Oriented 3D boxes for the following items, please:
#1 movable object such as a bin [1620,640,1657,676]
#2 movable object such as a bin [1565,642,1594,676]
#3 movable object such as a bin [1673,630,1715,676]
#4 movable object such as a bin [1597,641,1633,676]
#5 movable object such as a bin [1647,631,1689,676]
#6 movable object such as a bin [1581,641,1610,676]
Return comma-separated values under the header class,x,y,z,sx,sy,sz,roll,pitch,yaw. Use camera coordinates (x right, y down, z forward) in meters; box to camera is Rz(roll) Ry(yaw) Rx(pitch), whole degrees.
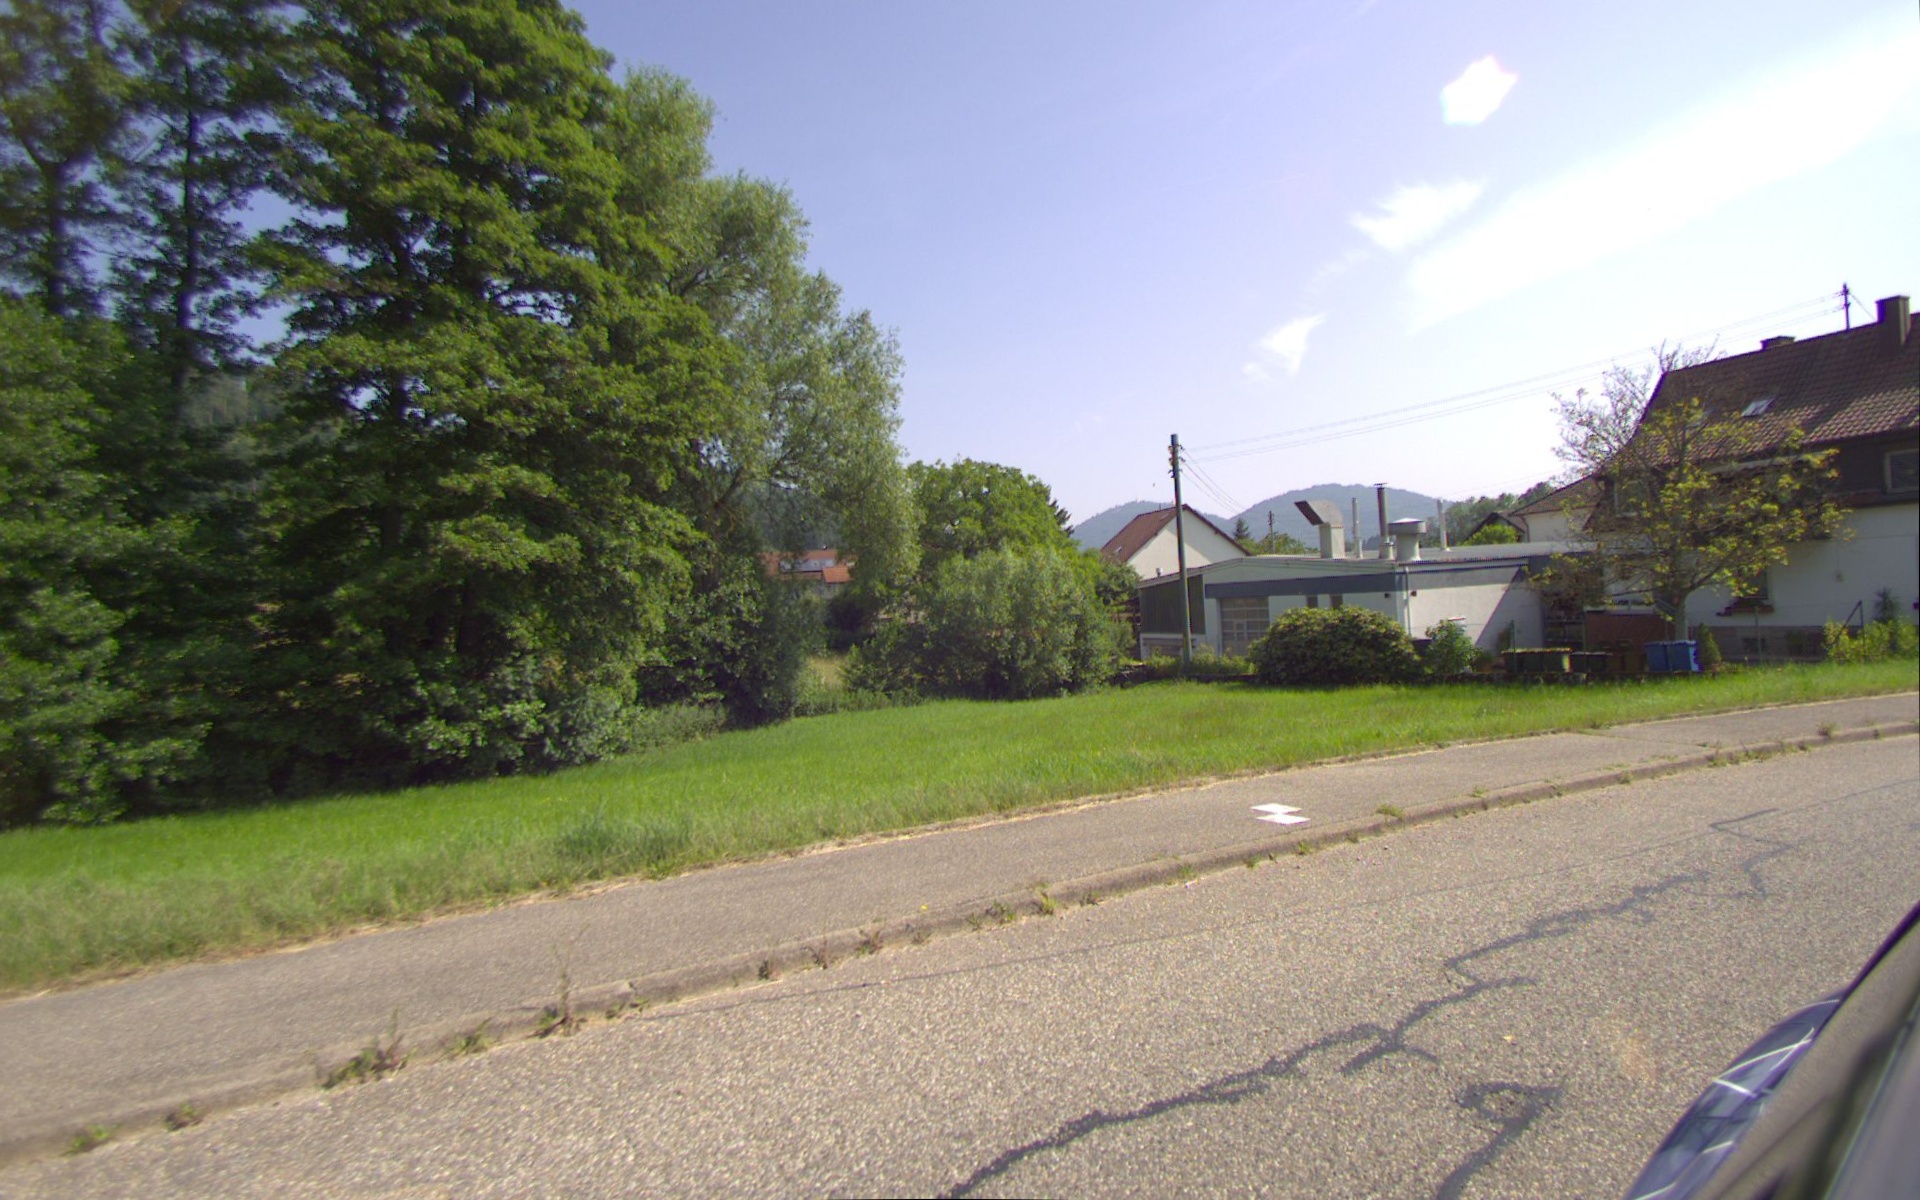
class,x,y,z,sx,sy,sz,roll,pitch,yaw
movable object such as a bin,18.286,1.563,27.270,0.575,0.911,0.570,-2,-3,-33
movable object such as a bin,17.483,1.659,28.565,0.575,0.911,0.420,-2,-3,-33
movable object such as a bin,18.995,1.369,26.187,0.778,1.133,0.570,-2,-3,-33
movable object such as a bin,17.967,1.601,27.765,0.575,0.911,0.570,-2,-3,-33
movable object such as a bin,18.673,1.407,26.684,0.783,1.133,0.570,-2,-3,-33
movable object such as a bin,17.709,1.632,28.196,0.575,0.911,0.420,-2,-3,-33
